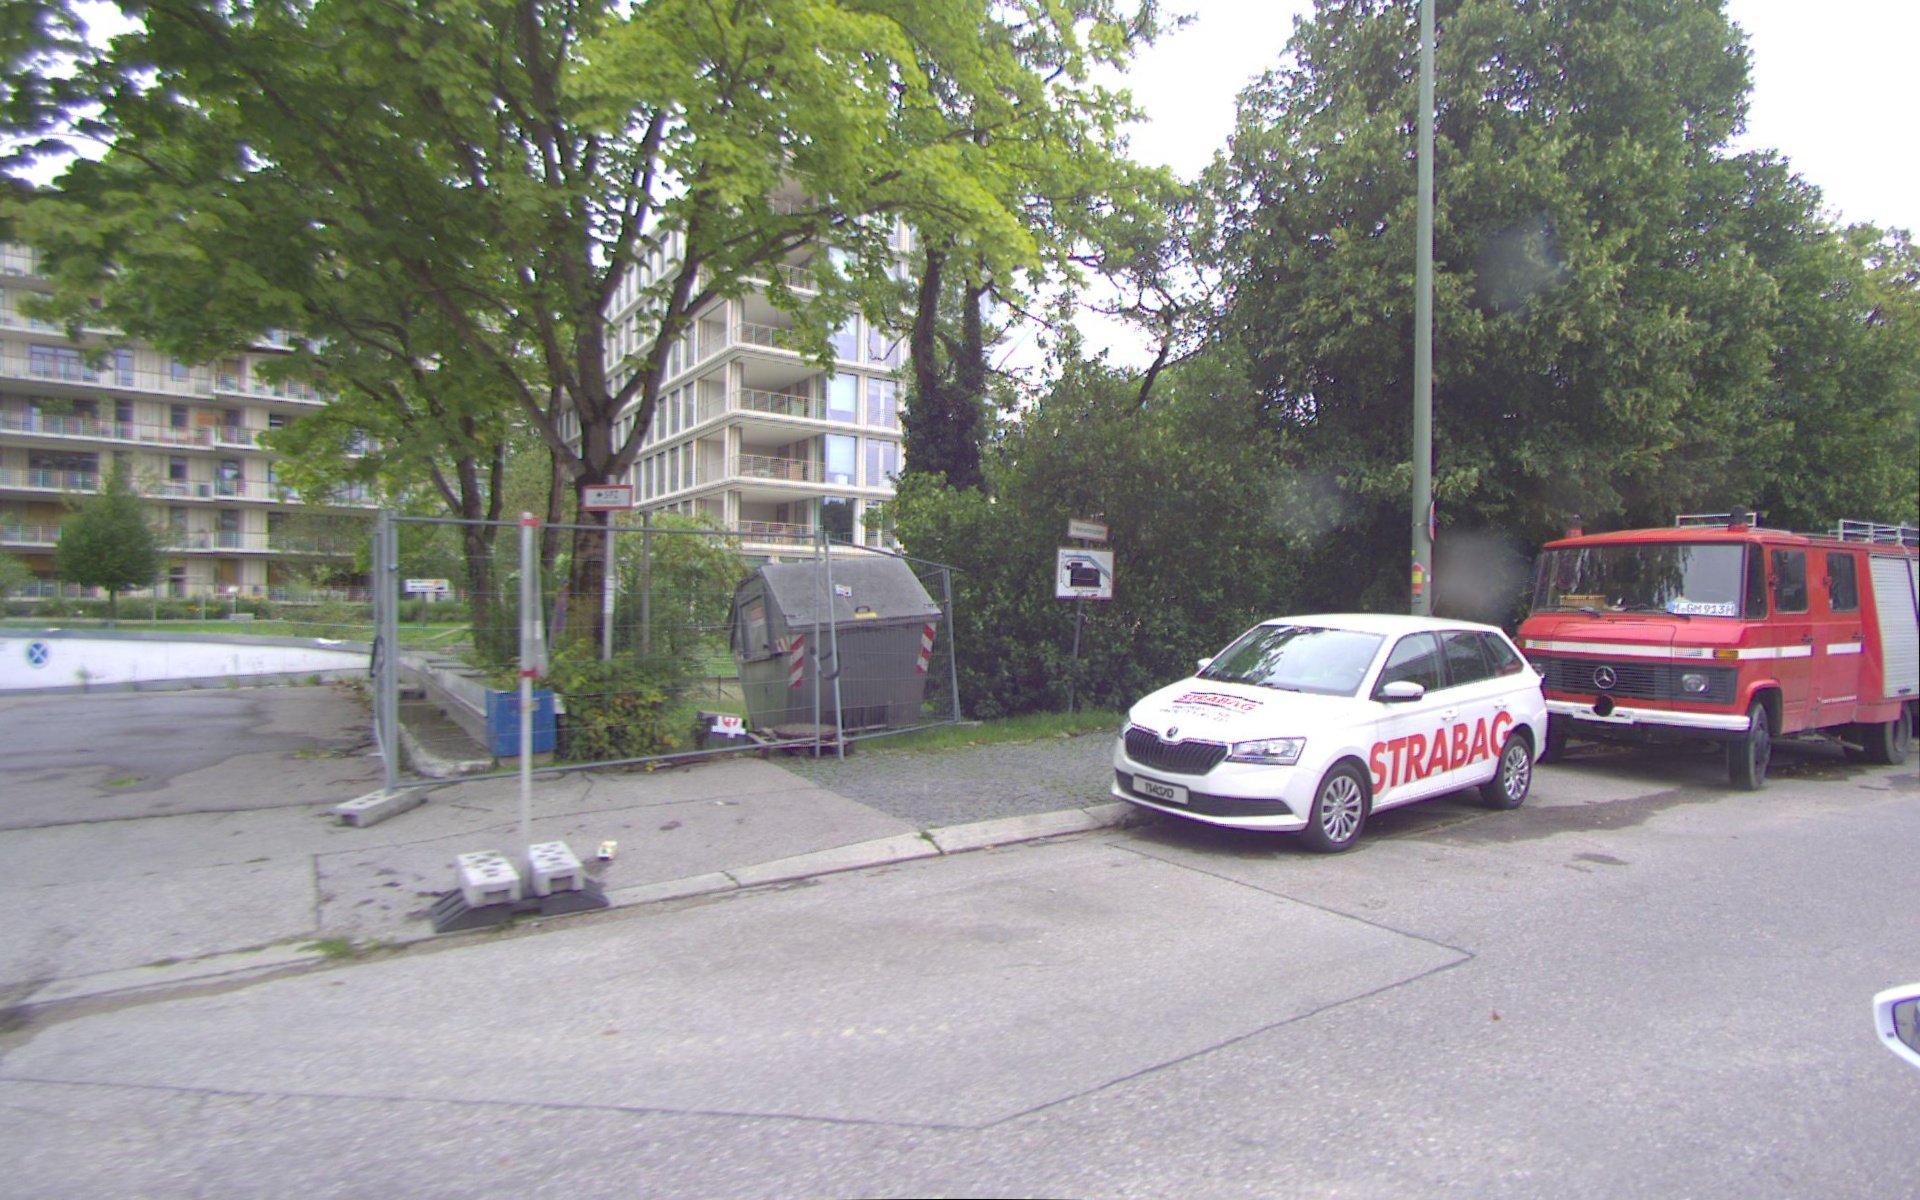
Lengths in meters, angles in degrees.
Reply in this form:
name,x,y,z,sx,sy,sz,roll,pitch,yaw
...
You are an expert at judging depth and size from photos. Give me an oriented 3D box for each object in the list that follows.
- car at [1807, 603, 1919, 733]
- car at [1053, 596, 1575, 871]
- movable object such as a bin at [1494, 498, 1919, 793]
name,x,y,z,sx,sy,sz,roll,pitch,yaw
car,14.130,0.924,14.436,4.411,1.671,1.766,1,0,-33
car,2.872,0.803,7.743,4.217,1.570,1.763,1,0,-37
movable object such as a bin,8.625,0.438,10.931,6.115,2.491,2.094,1,0,-31
